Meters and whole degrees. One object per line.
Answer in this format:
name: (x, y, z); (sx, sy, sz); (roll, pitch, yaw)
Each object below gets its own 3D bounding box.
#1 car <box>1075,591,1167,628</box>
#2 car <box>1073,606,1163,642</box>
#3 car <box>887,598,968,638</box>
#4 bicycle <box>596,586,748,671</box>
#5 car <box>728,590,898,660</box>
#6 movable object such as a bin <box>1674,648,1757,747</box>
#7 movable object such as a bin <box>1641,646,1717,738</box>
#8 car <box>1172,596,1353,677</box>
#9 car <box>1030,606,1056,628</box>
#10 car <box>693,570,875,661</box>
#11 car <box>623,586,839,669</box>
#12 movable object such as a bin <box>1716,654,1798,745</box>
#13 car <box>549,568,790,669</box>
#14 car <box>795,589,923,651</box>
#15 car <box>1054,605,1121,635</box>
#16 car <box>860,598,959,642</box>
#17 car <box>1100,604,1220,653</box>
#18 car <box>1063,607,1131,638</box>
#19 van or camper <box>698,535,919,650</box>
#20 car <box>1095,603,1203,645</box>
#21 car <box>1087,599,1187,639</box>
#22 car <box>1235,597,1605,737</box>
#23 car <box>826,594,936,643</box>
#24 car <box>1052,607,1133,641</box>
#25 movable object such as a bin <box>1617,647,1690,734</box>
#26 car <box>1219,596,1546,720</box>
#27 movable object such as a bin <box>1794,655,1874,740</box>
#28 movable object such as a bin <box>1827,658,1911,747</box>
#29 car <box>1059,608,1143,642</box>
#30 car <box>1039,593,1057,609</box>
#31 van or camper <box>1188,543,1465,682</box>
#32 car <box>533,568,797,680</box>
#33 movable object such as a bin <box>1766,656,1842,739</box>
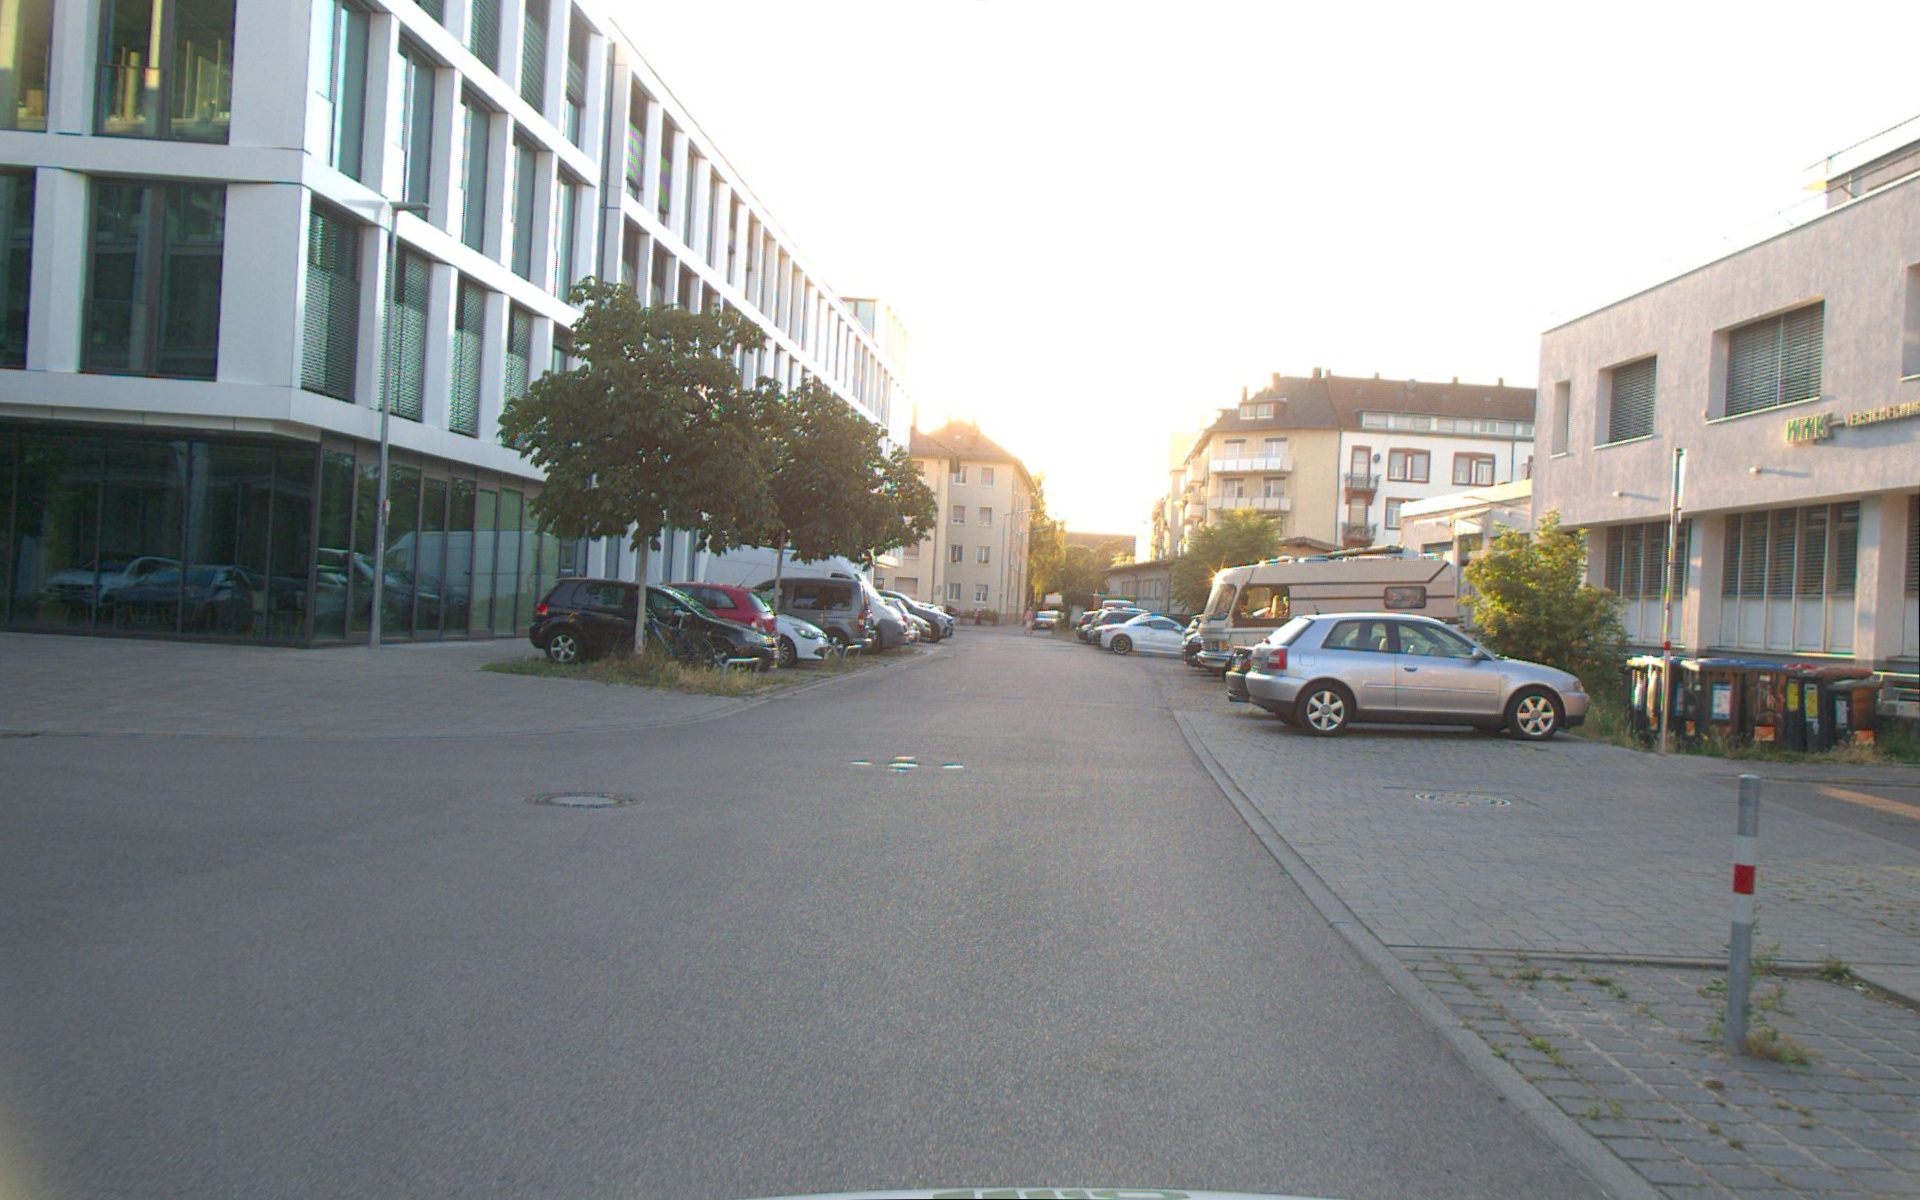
car: (7.793, 0.433, 80.501); (4.253, 1.672, 1.815); (1, 1, -1)
car: (7.286, 1.102, 76.483); (3.967, 1.505, 1.767); (1, 1, -1)
car: (-1.222, 0.689, 63.640); (2.951, 1.446, 1.459); (1, 1, 4)
bicycle: (-4.445, 0.435, 25.646); (2.133, 1.194, 0.811); (3, 0, 3)
car: (-3.551, 0.594, 40.429); (3.967, 1.550, 1.736); (1, 1, 0)
movable object such as a bin: (8.470, 1.085, 18.569); (0.566, 1.028, 0.688); (2, 1, -1)
movable object such as a bin: (8.385, 1.070, 19.302); (0.566, 1.028, 0.688); (2, -3, -1)
car: (7.235, 0.852, 39.730); (3.909, 1.716, 1.762); (3, 0, -5)
car: (6.373, 1.294, 127.821); (1.909, 1.612, 3.642); (3, 0, 2)
car: (-4.001, 0.331, 38.023); (3.967, 1.941, 1.736); (1, 1, 0)
car: (-4.527, 0.532, 33.059); (3.965, 1.505, 1.769); (1, 1, 4)
movable object such as a bin: (9.137, 1.134, 18.978); (0.566, 0.975, 0.688); (2, 1, -1)
car: (-5.315, 0.331, 30.587); (3.966, 1.504, 1.768); (4, 0, 4)
car: (-2.897, 0.559, 47.739); (3.485, 1.681, 1.459); (1, 1, 4)
car: (7.650, 1.208, 99.166); (3.826, 1.672, 1.710); (1, 1, -1)
car: (-1.860, 0.725, 61.310); (3.485, 1.505, 1.459); (1, 1, 4)
car: (6.787, 0.968, 56.406); (3.965, 1.505, 1.769); (1, 1, 4)
car: (7.792, 1.286, 94.573); (3.709, 1.672, 1.696); (1, 1, -1)
van or camper: (-3.910, -0.199, 43.100); (5.339, 2.526, 1.776); (4, 1, 4)
car: (7.326, 0.913, 64.278); (3.967, 1.505, 1.767); (1, 1, -1)
car: (7.392, 0.789, 69.360); (3.967, 1.505, 1.767); (1, 1, -1)
car: (5.499, 0.782, 20.110); (3.967, 1.504, 1.767); (1, 1, -1)
car: (-2.613, 0.601, 55.068); (3.485, 1.505, 1.459); (1, 1, 4)
car: (7.273, 1.311, 91.053); (4.253, 1.672, 1.815); (1, 1, -1)
movable object such as a bin: (8.567, 1.112, 20.449); (0.566, 1.028, 0.688); (2, -1, -1)
car: (5.662, 0.756, 22.498); (3.967, 1.505, 1.767); (1, 1, -1)
movable object such as a bin: (10.686, 1.185, 20.237); (0.566, 0.975, 0.688); (2, 1, -1)
movable object such as a bin: (10.706, 1.197, 19.488); (0.566, 0.975, 0.688); (2, 1, -1)
car: (7.490, 1.343, 88.168); (4.253, 1.672, 1.815); (1, 1, -1)
car: (9.138, 0.132, 171.409); (1.706, 1.552, 3.552); (3, 0, 2)
van or camper: (7.954, 0.251, 36.338); (5.495, 2.838, 2.430); (1, 1, 0)
car: (-4.869, 0.369, 27.684); (3.967, 1.504, 1.768); (4, 1, 1)
movable object such as a bin: (10.693, 1.232, 20.977); (0.566, 0.975, 0.688); (2, 1, -1)
